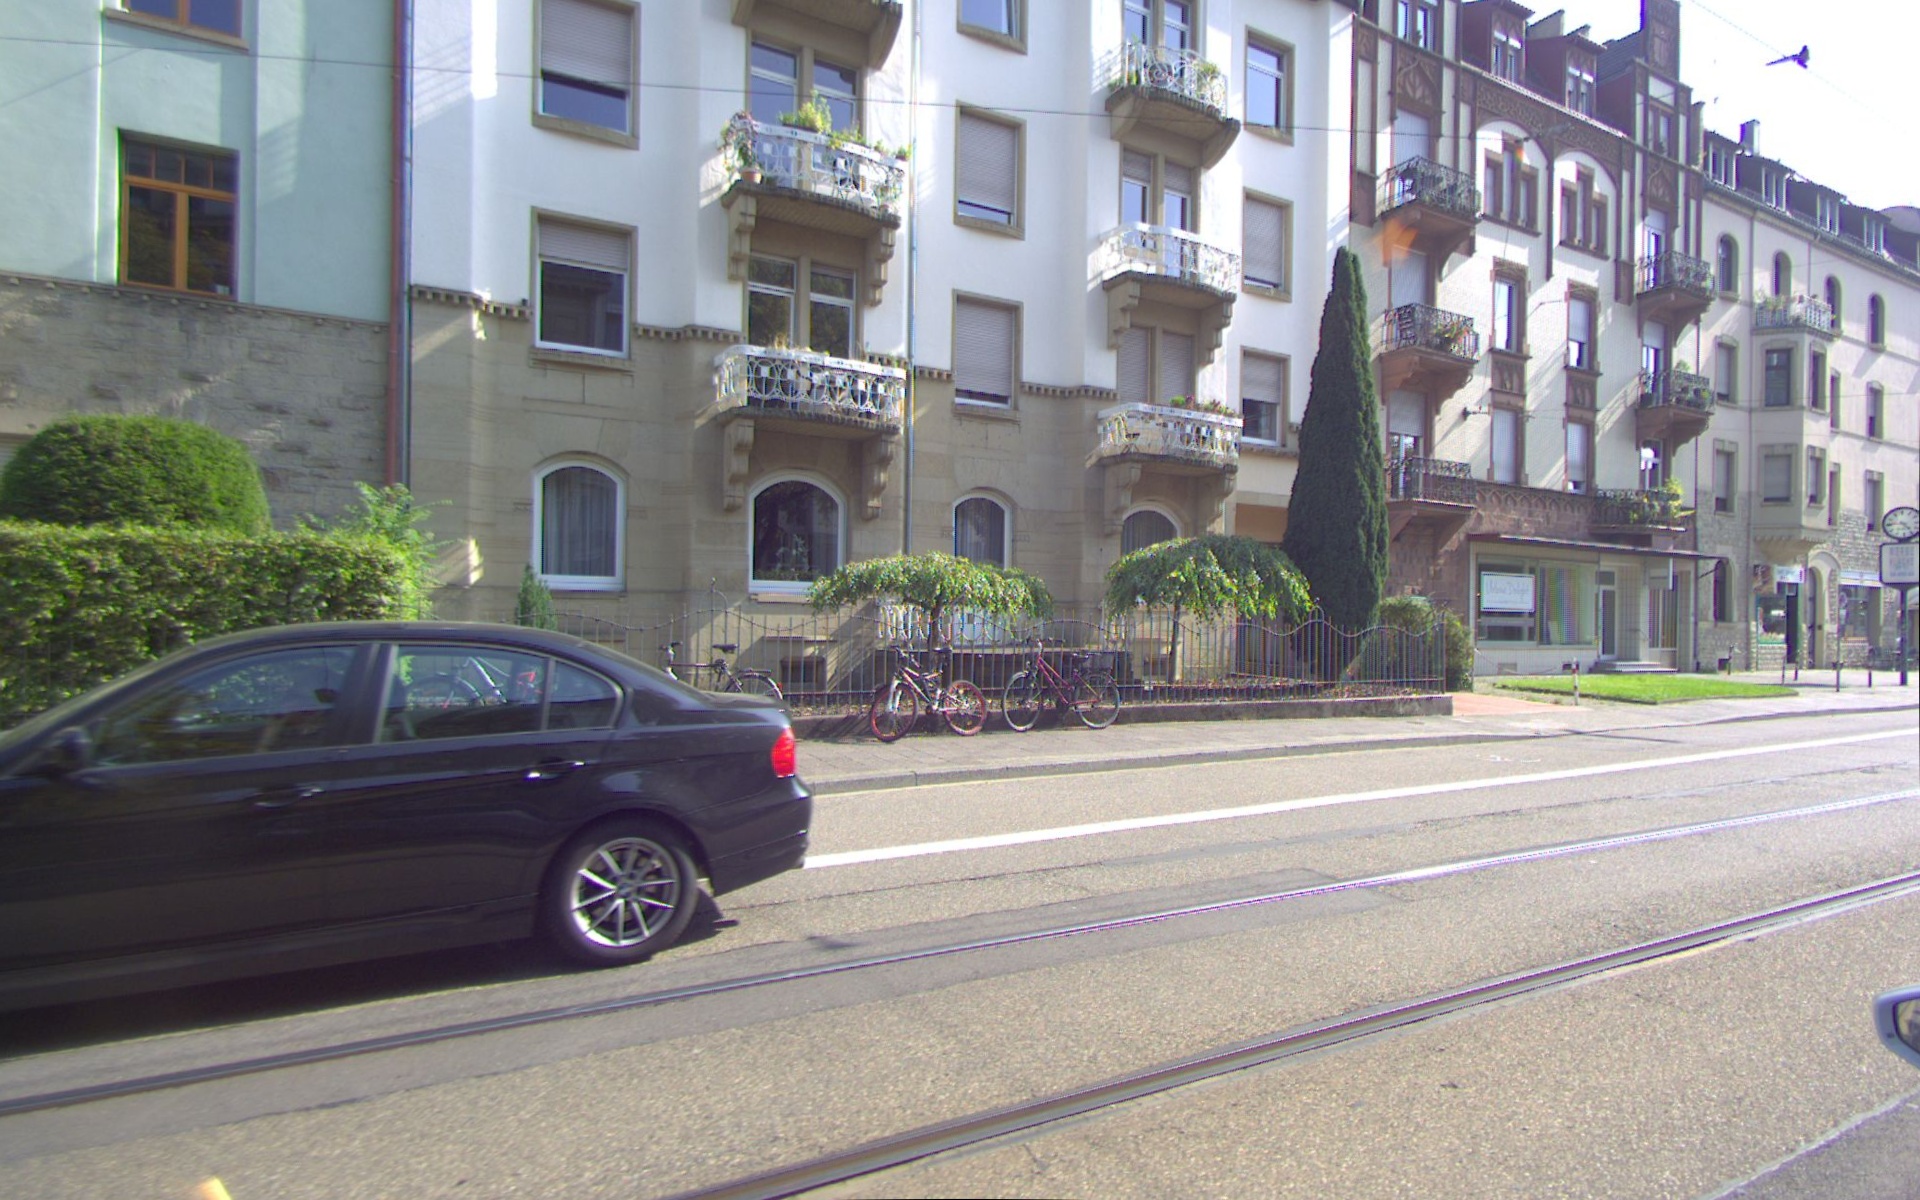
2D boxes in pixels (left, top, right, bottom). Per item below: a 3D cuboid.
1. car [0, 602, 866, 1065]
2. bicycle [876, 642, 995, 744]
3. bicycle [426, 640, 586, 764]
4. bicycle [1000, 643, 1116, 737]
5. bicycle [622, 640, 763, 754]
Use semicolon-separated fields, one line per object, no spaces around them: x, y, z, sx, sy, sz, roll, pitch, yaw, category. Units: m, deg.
-2.847;0.762;4.227;4.591;1.421;1.688;2;0;-30;car
-0.268;1.036;11.477;1.339;1.102;0.368;1;-1;-30;bicycle
-4.278;0.934;9.497;1.339;1.102;0.368;1;-1;-30;bicycle
1.223;1.087;12.407;1.470;1.102;0.368;1;-1;-30;bicycle
-2.727;0.966;10.302;1.339;1.102;0.368;1;-1;-30;bicycle
